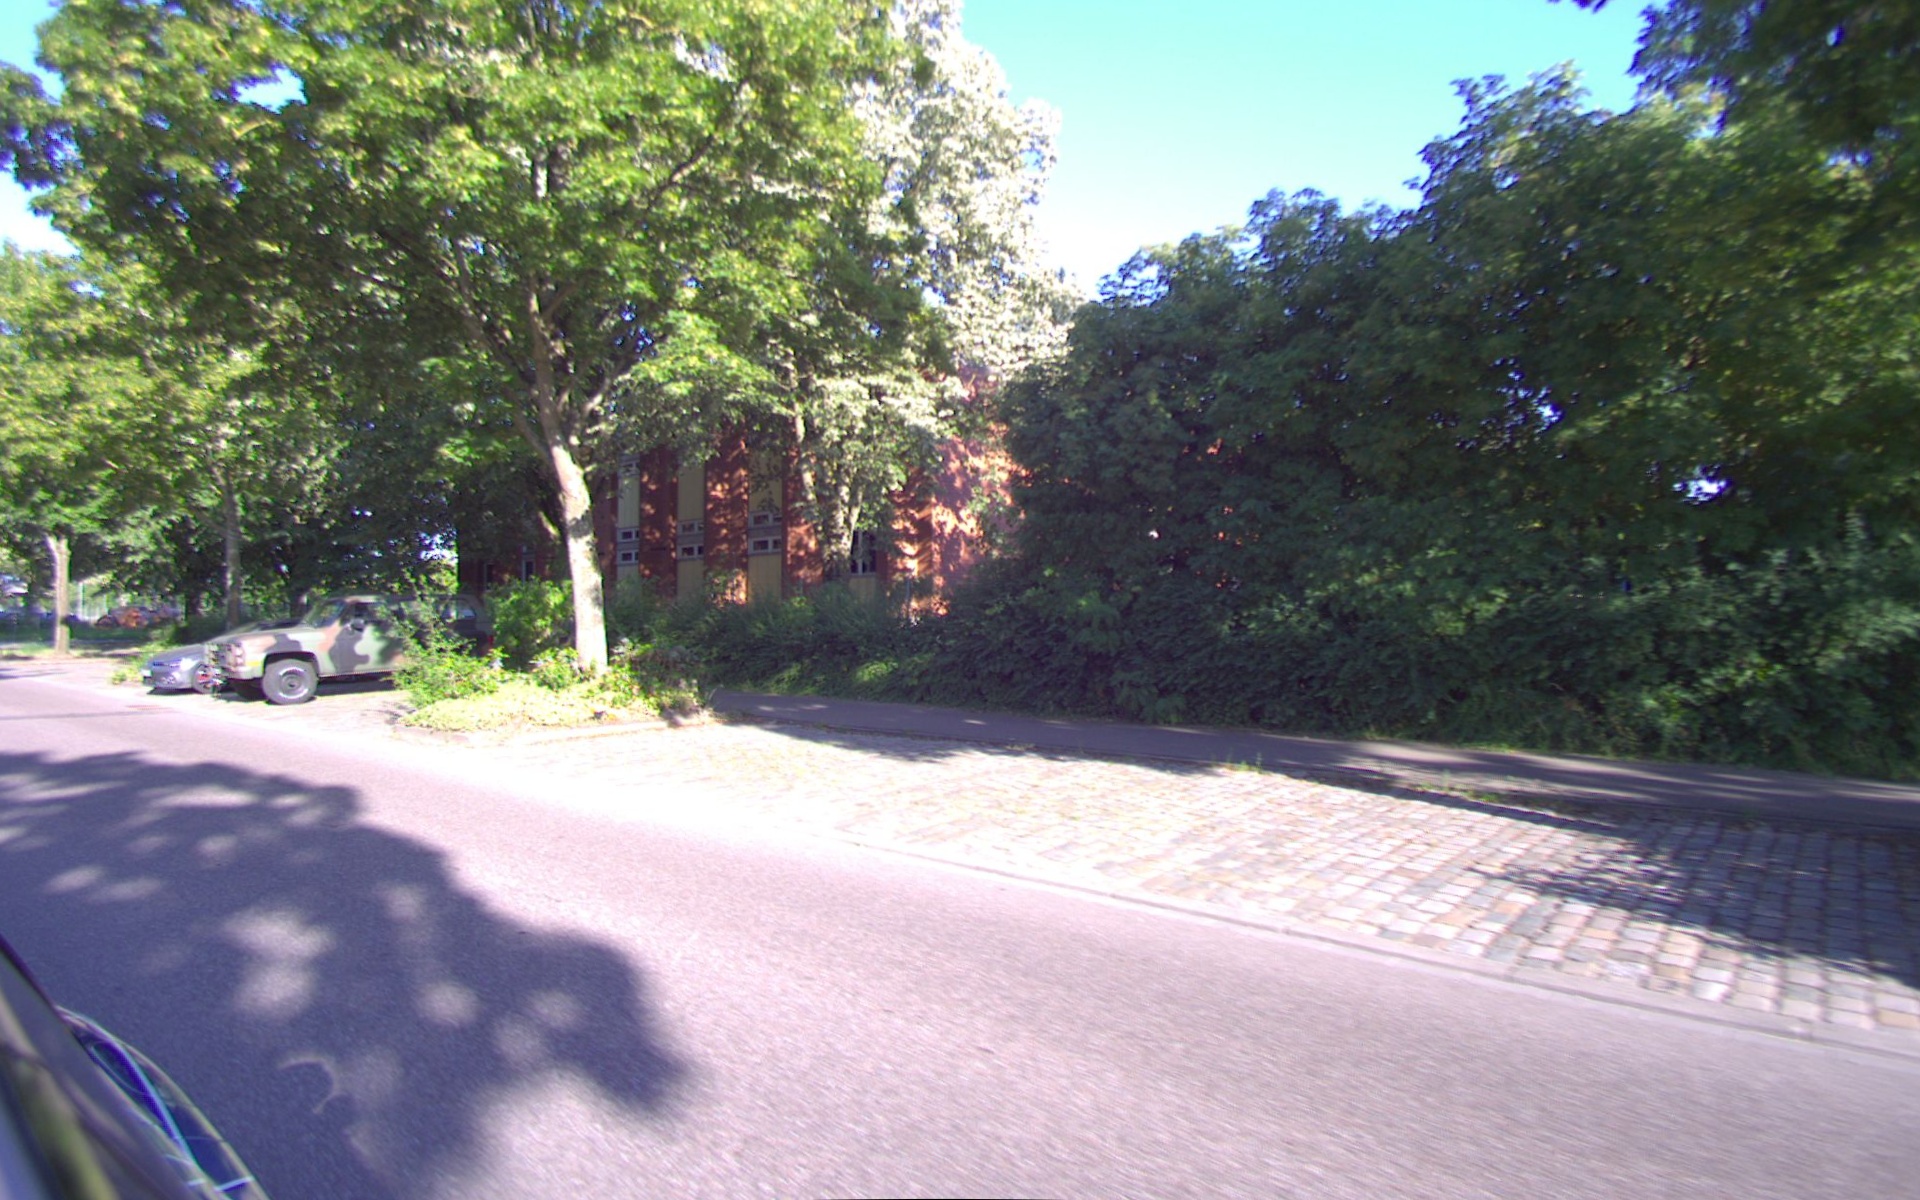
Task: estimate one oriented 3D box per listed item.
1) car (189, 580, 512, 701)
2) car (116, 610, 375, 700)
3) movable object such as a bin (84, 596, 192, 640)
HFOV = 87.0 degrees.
[{"bbox_3d":[-11.671,0.740,19.696,2.173,2.035,4.954,-1,-2,40],"label":"car"},{"bbox_3d":[-15.116,1.083,21.617,1.702,1.541,4.174,-1,1,36],"label":"car"},{"bbox_3d":[-50.709,1.114,62.537,4.730,2.685,2.167,0,-2,-6],"label":"movable object such as a bin"}]
